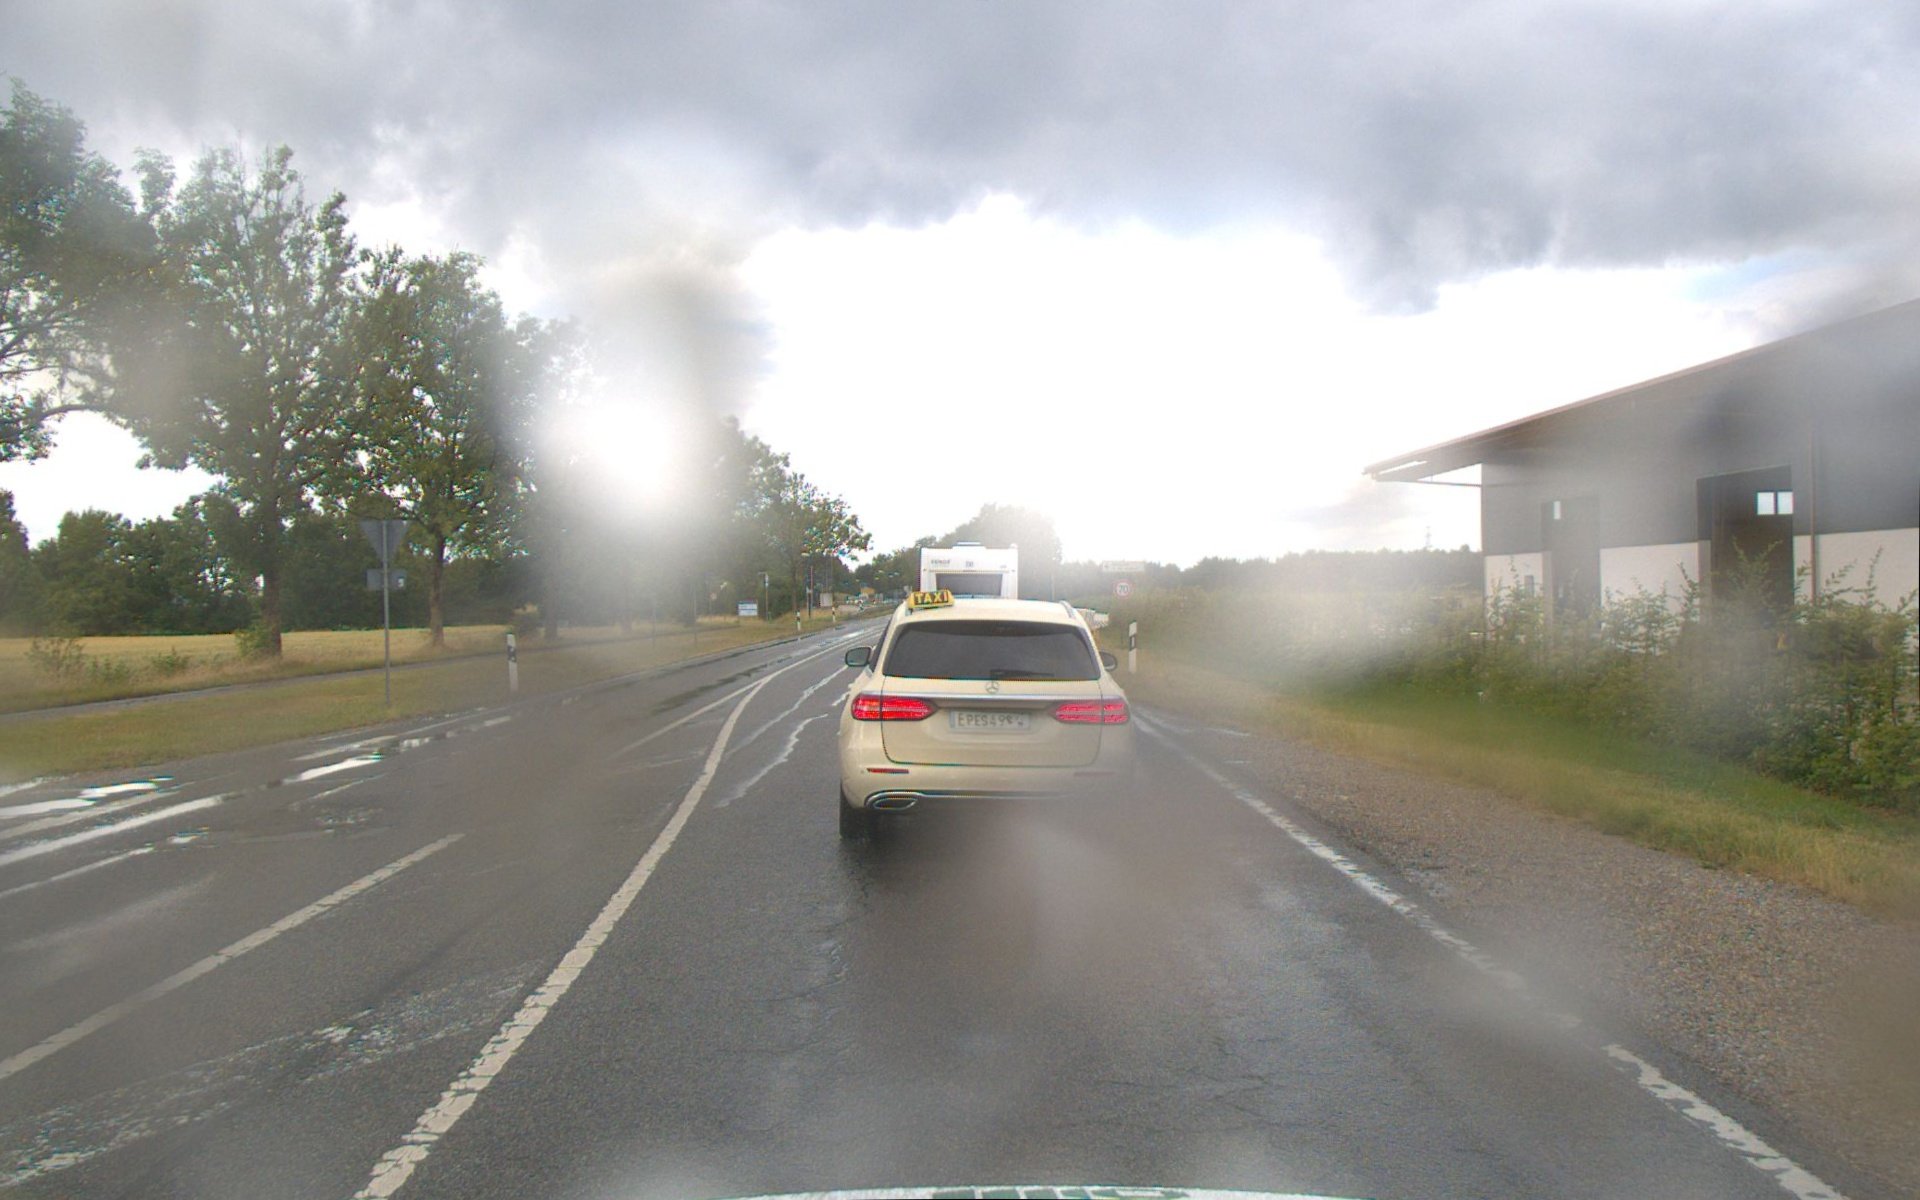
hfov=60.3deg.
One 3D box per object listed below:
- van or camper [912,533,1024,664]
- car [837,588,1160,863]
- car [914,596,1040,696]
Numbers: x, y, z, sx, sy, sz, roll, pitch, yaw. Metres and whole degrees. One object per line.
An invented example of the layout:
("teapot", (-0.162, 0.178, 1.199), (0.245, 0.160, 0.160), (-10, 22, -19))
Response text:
("van or camper", (0.204, -0.040, 40.195), (2.446, 2.880, 5.934), (-2, 0, 0))
("car", (0.216, 0.684, 11.120), (1.760, 1.490, 4.030), (1, 0, 0))
("car", (0.230, 0.671, 26.261), (1.856, 1.454, 3.927), (0, 0, -1))
